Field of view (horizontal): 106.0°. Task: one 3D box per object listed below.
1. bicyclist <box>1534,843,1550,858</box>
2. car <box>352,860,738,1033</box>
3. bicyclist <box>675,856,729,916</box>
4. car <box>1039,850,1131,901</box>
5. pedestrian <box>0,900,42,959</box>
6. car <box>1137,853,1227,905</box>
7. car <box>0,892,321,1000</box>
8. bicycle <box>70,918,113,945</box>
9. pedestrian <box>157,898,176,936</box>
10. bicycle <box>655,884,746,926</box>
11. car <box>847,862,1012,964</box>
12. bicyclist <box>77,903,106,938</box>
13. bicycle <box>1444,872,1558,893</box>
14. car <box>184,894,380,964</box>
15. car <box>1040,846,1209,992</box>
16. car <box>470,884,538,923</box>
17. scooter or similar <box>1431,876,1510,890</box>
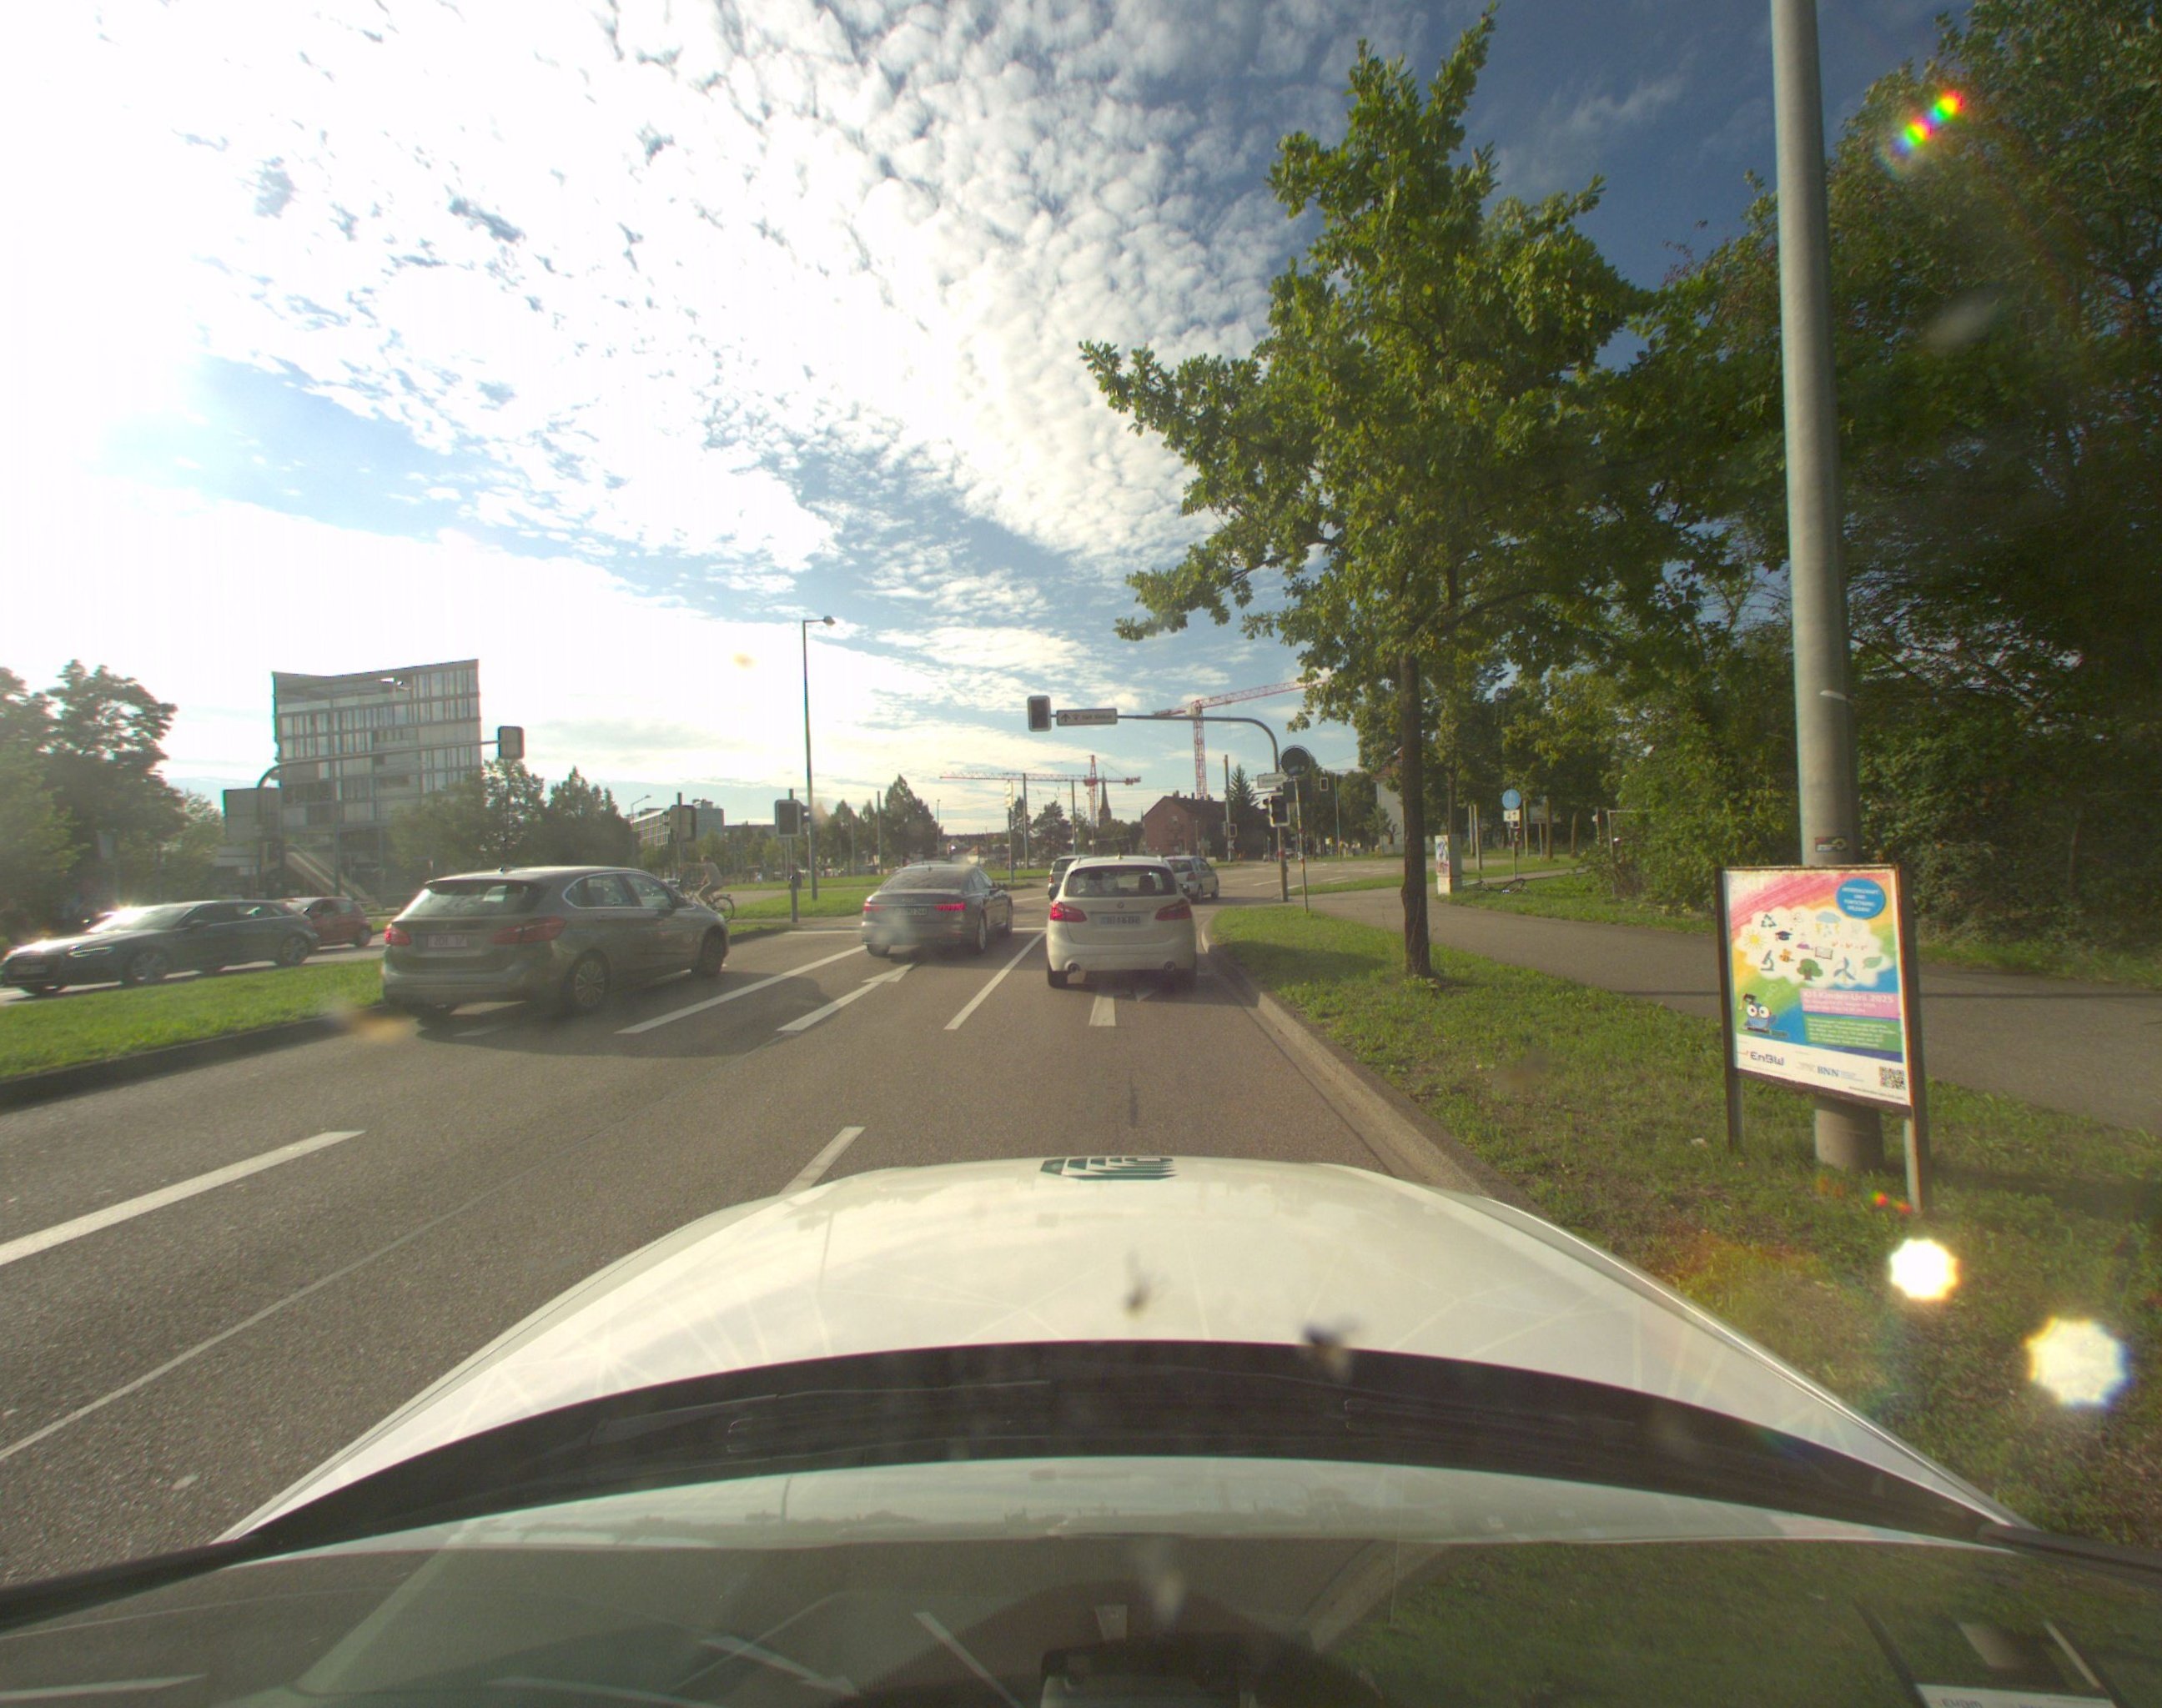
[{"bbox_3d":[41.479,-0.298,73.276,0.999,1.355,0.714,-3,-1,1],"label":"bicyclist"},{"bbox_3d":[-5.881,0.885,9.656,1.761,1.572,4.069,-2,0,2],"label":"car"},{"bbox_3d":[-10.204,0.848,21.937,0.858,1.556,0.999,-3,-1,6],"label":"bicyclist"},{"bbox_3d":[0.252,0.721,29.138,1.835,1.477,4.478,-2,1,20],"label":"car"},{"bbox_3d":[-28.704,2.034,22.034,0.747,1.508,0.632,-1,-1,45],"label":"pedestrian"},{"bbox_3d":[3.388,0.765,26.432,1.835,1.426,4.478,-2,1,21],"label":"car"},{"bbox_3d":[-16.698,1.567,14.891,1.847,1.434,4.062,-5,0,-4],"label":"car"},{"bbox_3d":[-43.027,3.356,35.421,0.613,0.988,1.818,-4,2,-33],"label":"bicycle"},{"bbox_3d":[-41.073,2.825,36.573,0.541,1.625,0.509,-3,-1,41],"label":"pedestrian"},{"bbox_3d":[-10.229,1.368,21.949,1.945,1.007,1.004,-3,-1,6],"label":"bicycle"},{"bbox_3d":[-2.452,0.903,14.463,1.843,1.445,4.717,-2,0,2],"label":"car"},{"bbox_3d":[-42.992,2.885,35.385,0.613,1.445,0.690,-2,0,-35],"label":"bicyclist"},{"bbox_3d":[10.142,0.674,19.762,1.094,0.346,2.228,-2,2,-32],"label":"bicycle"},{"bbox_3d":[-20.433,1.848,21.063,1.678,1.434,3.584,-3,-1,-5],"label":"car"},{"bbox_3d":[0.553,0.738,11.275,1.843,1.572,4.456,-2,0,2],"label":"car"},{"bbox_3d":[-24.148,2.037,34.198,1.689,1.434,3.959,-3,-1,-27],"label":"car"},{"bbox_3d":[10.815,0.795,22.656,1.555,0.281,1.283,-3,0,-23],"label":"scooter or similar"}]
